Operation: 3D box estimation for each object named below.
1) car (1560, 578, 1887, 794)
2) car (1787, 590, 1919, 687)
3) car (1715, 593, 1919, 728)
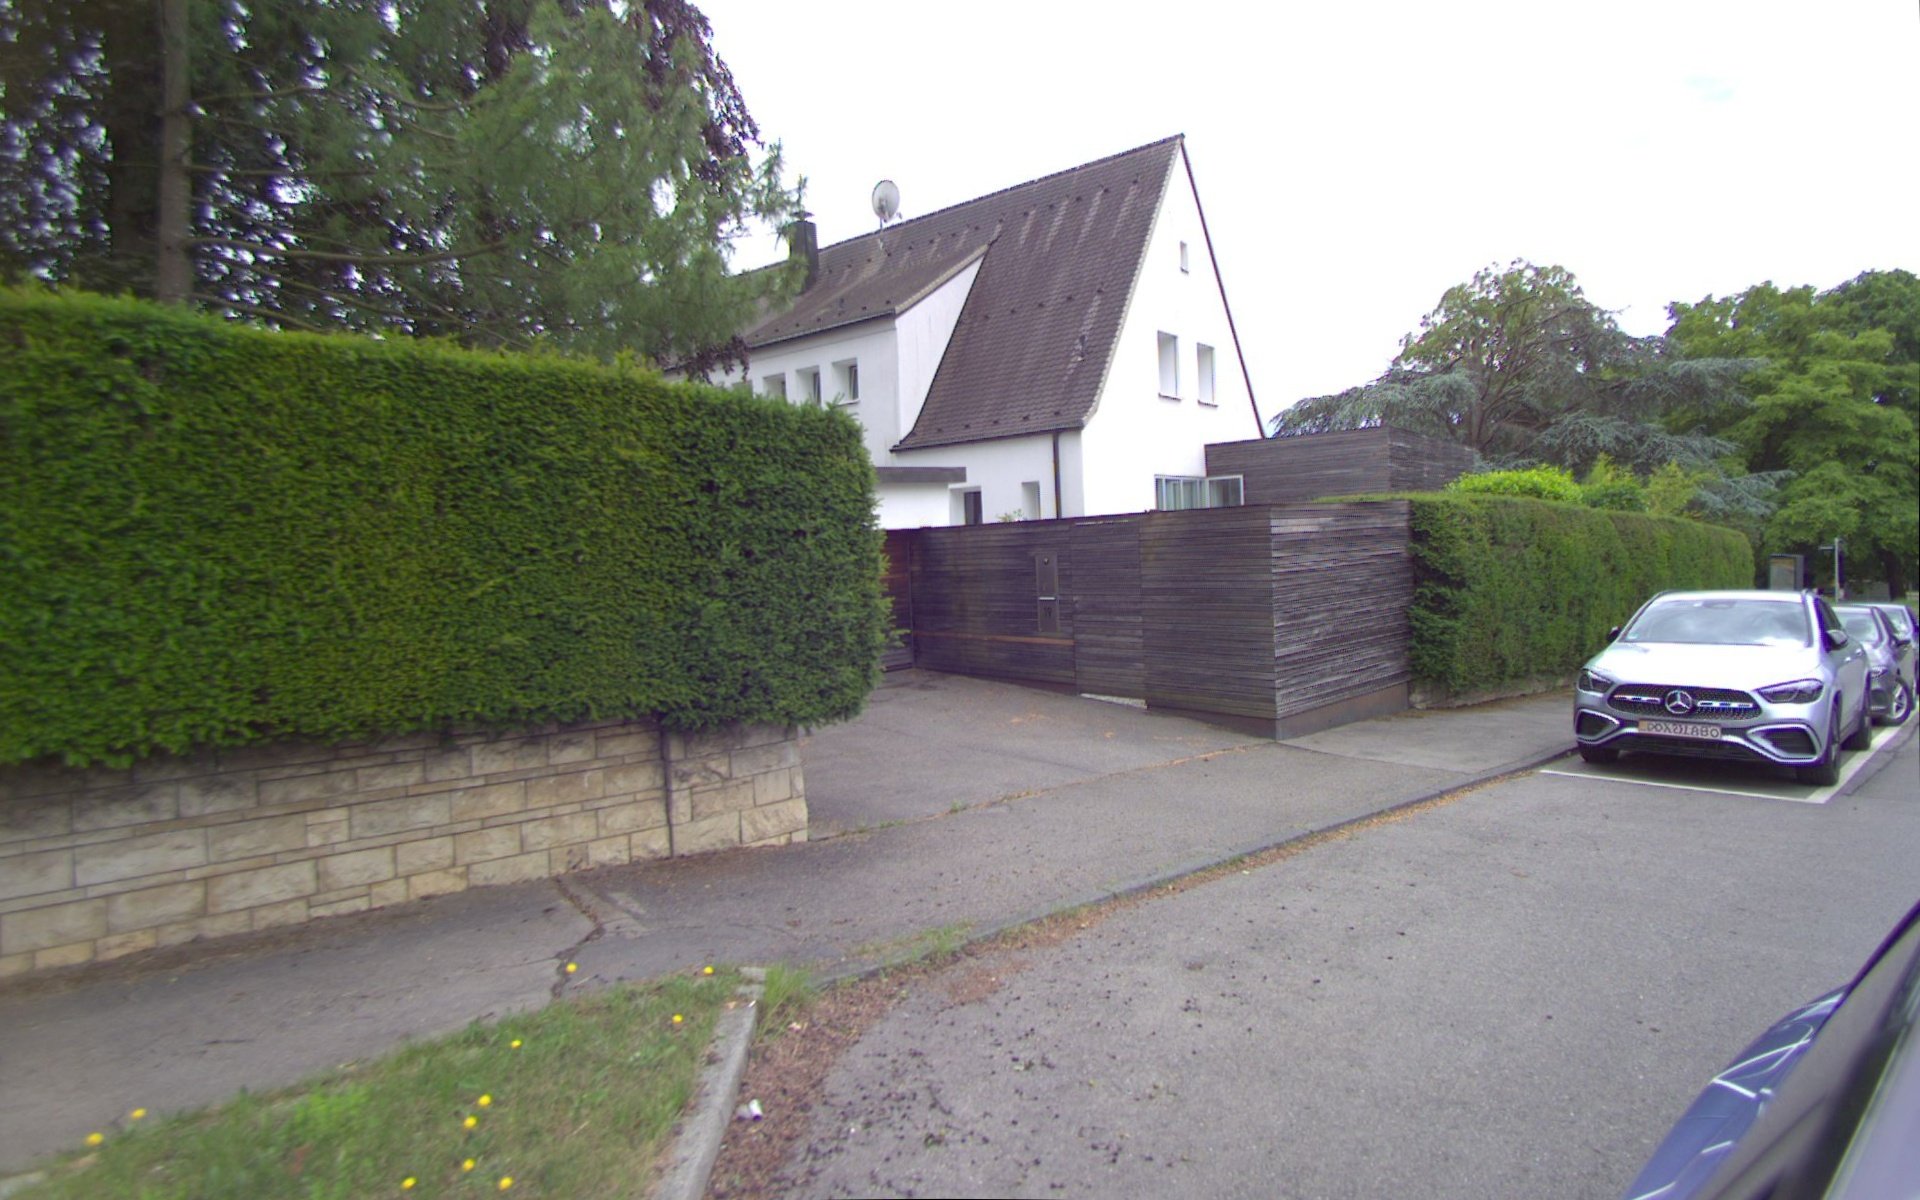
[{"bbox_3d":[7.372,0.617,9.613,4.103,1.602,1.856,-1,0,-44],"label":"car"},{"bbox_3d":[15.779,0.582,17.469,3.934,1.482,1.856,-1,0,-44],"label":"car"},{"bbox_3d":[11.519,0.664,13.343,4.103,1.482,1.856,-1,0,-44],"label":"car"}]
